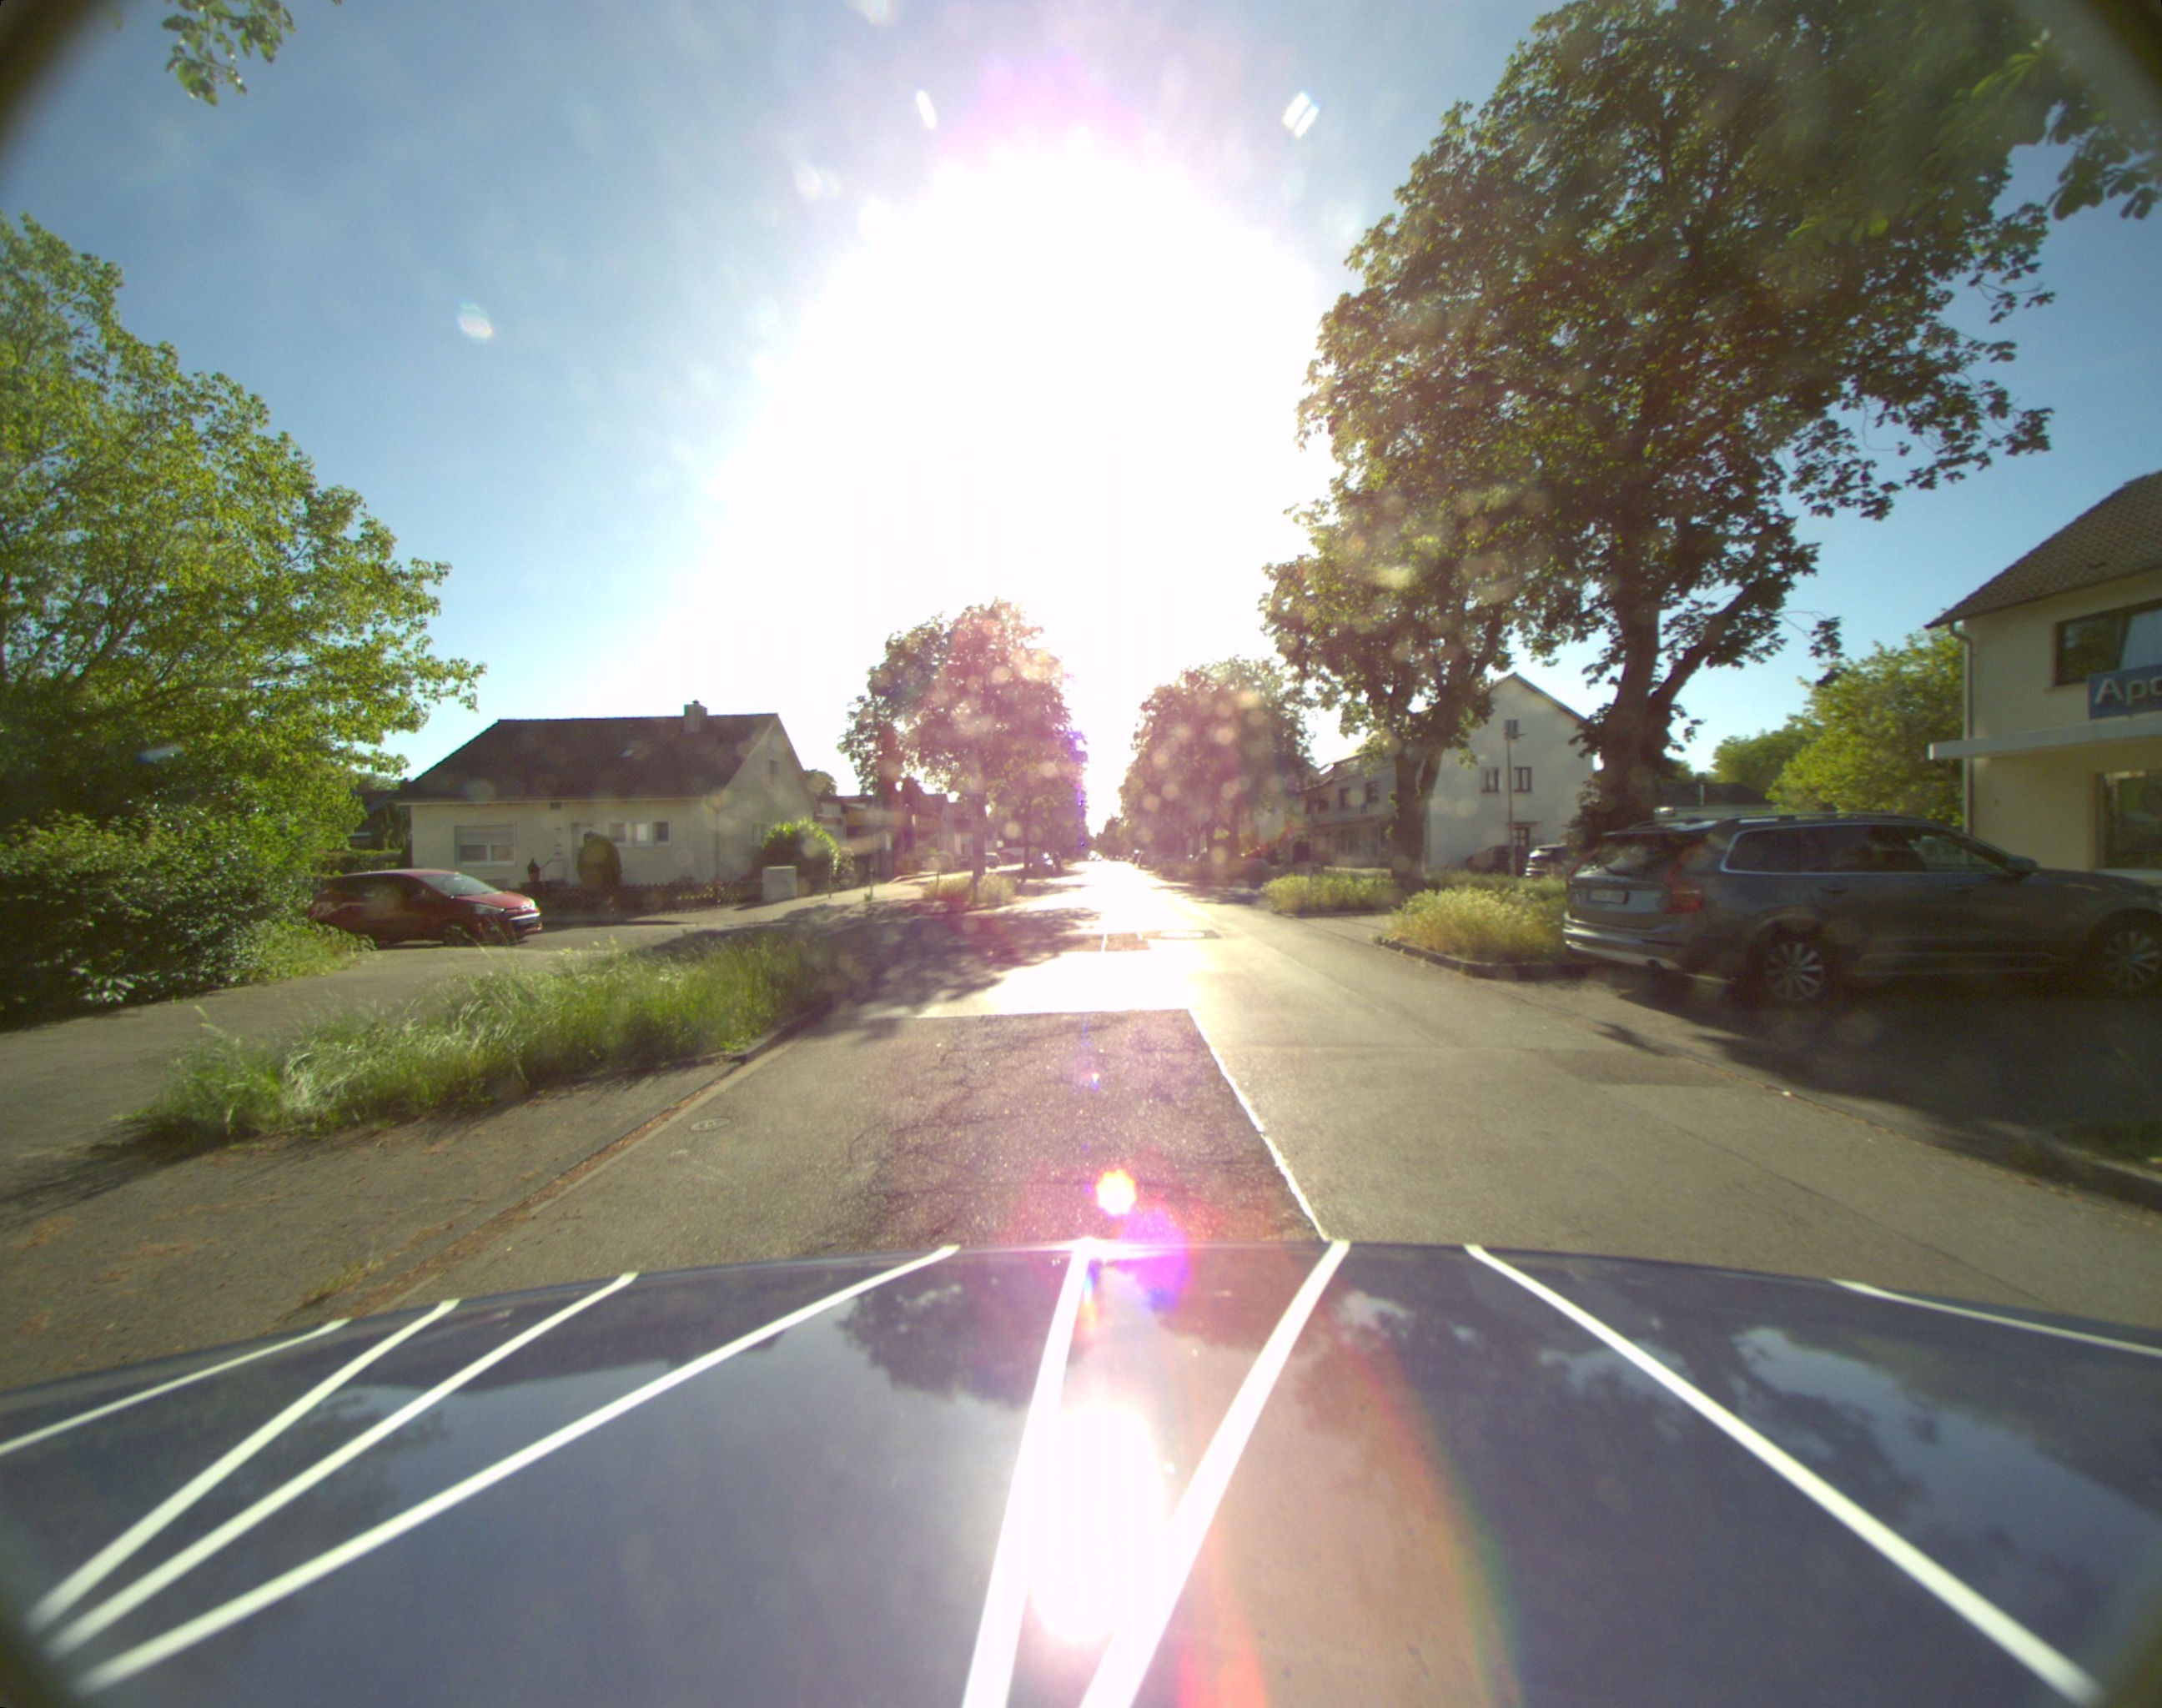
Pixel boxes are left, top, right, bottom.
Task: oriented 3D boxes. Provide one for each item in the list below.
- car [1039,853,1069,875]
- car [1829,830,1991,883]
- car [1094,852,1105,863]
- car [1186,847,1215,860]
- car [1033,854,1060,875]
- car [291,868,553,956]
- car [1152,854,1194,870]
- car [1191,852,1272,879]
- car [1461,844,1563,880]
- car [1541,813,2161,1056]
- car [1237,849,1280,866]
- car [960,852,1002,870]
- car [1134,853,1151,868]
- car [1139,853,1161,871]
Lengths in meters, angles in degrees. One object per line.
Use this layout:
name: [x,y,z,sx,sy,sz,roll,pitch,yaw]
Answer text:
car: [-2.168,0.805,61.695,1.941,1.684,4.363,-2,0,3]
car: [31.219,0.086,28.708,3.997,1.819,1.999,-2,1,-2]
car: [2.964,0.589,122.211,1.539,1.582,3.459,-4,1,3]
car: [17.925,-0.038,114.043,3.997,1.674,2.000,-4,1,1]
car: [-2.482,0.712,55.431,1.689,1.414,3.777,0,1,2]
car: [-12.617,1.079,14.730,3.550,1.501,1.640,-2,-1,-3]
car: [8.768,0.770,72.507,3.694,1.315,1.624,-3,1,-4]
car: [8.901,0.668,45.278,4.392,1.408,2.000,-3,1,0]
car: [21.161,0.343,37.591,1.999,1.555,4.906,-1,2,-4]
car: [7.706,0.655,7.514,5.075,1.718,1.999,-4,1,-3]
car: [16.856,0.296,72.343,3.773,1.556,1.691,0,1,5]
car: [-9.257,0.651,70.318,3.621,1.431,1.695,-4,1,-2]
car: [7.182,0.718,88.774,1.815,1.722,4.056,-1,0,3]
car: [7.025,0.802,77.460,1.998,1.530,3.695,-4,1,3]
